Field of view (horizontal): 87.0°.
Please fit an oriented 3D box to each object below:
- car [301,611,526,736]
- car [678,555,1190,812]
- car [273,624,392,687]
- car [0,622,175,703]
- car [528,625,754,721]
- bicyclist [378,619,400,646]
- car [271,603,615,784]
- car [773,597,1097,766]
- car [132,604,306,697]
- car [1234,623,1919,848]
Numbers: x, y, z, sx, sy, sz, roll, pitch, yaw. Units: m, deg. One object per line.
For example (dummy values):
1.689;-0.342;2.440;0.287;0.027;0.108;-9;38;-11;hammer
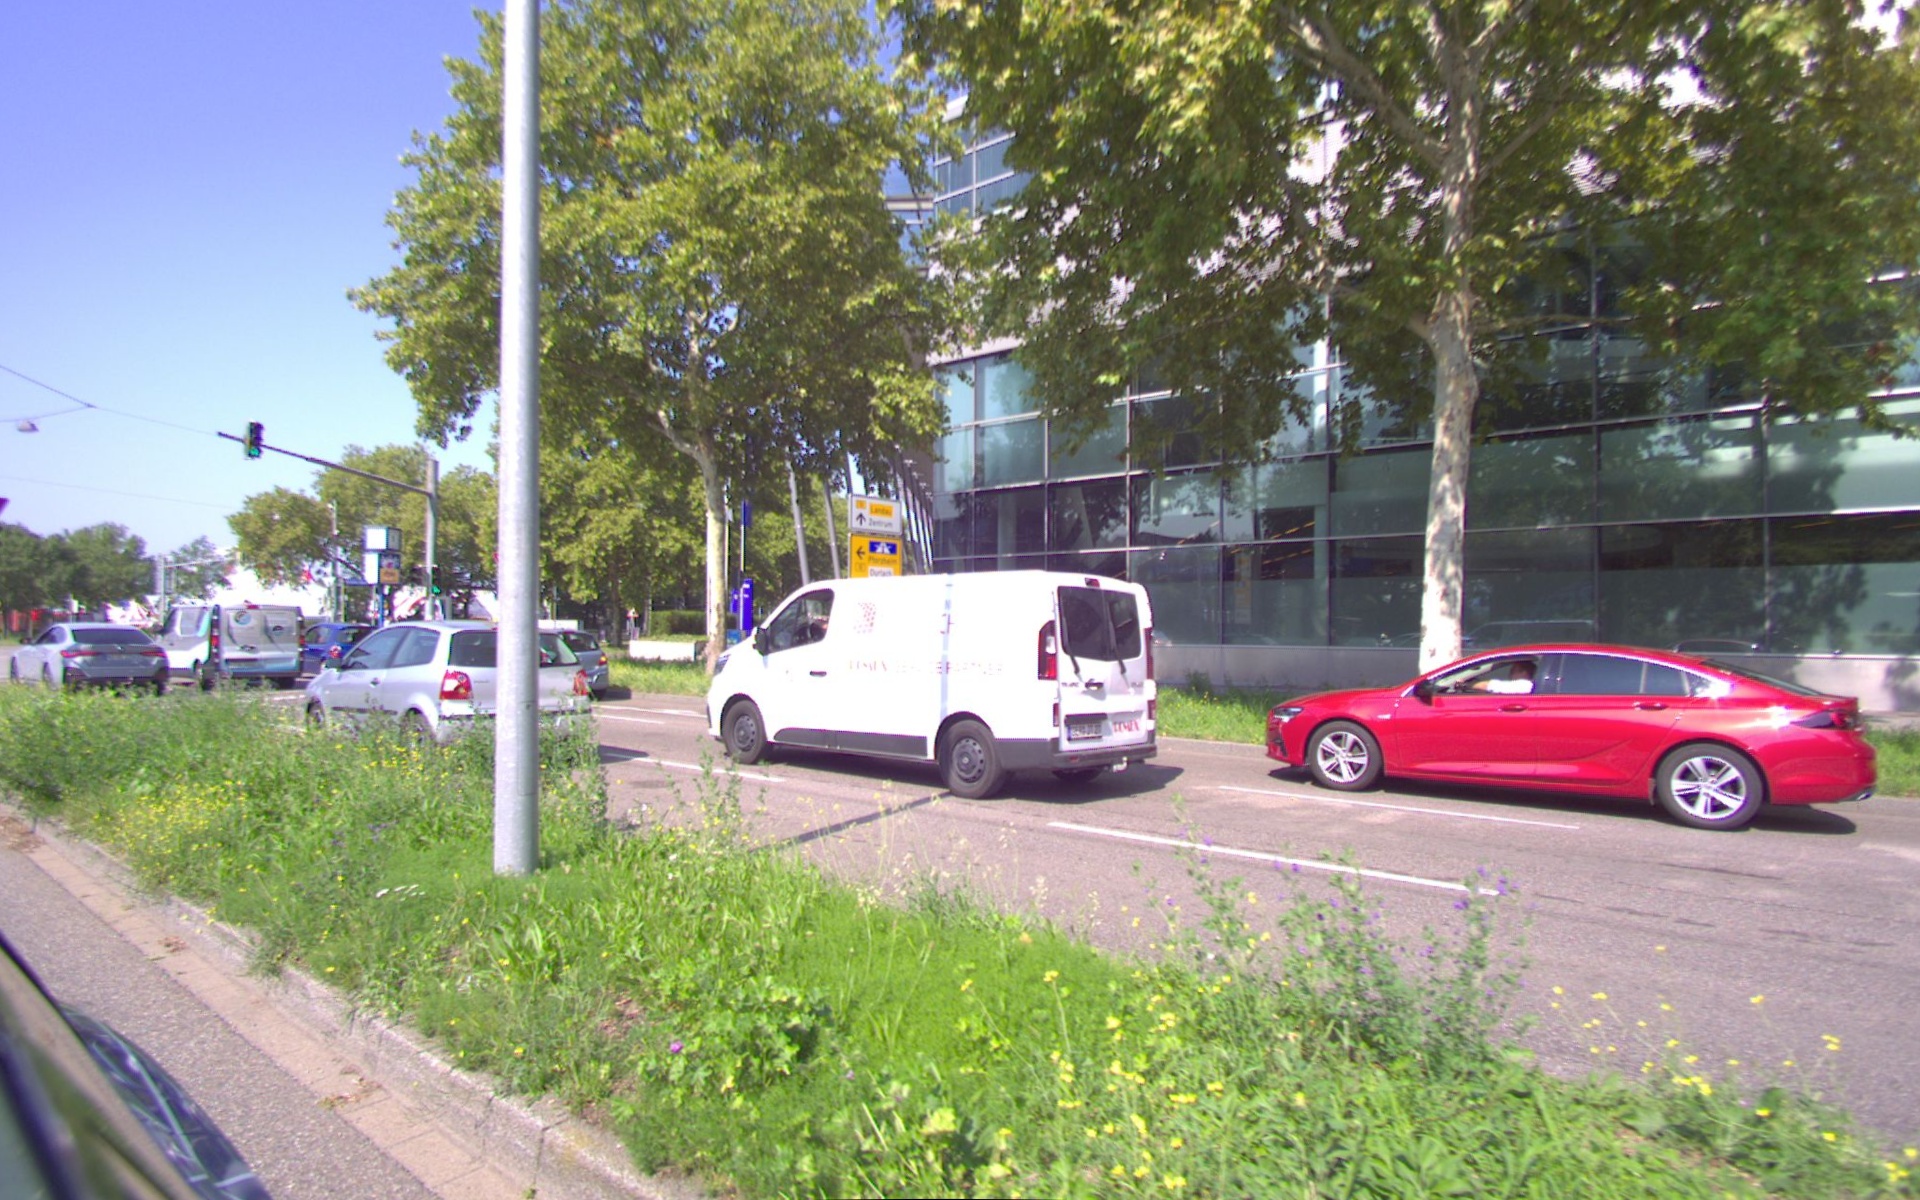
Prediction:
-9.469;1.175;17.377;4.699;1.863;1.700;-1;-4;40;car
-0.486;0.727;10.195;5.185;1.975;1.907;-1;-4;40;car
-17.253;1.495;27.773;3.728;1.547;1.651;0;-3;40;car
-17.734;1.216;20.472;4.600;1.454;1.818;-1;-4;38;car
-5.874;1.266;18.436;4.252;1.522;1.762;-1;-4;38;car
-35.353;2.039;62.668;1.199;1.606;0.592;-4;-2;28;bicyclist
-5.510;0.907;10.597;4.095;1.547;1.598;-2;-5;38;car
-0.393;0.987;13.450;3.970;1.910;1.909;-1;-4;38;car
-17.439;1.167;23.733;5.205;1.973;1.909;-2;-3;38;car
5.351;1.033;9.305;5.207;1.522;1.762;0;-3;39;car
